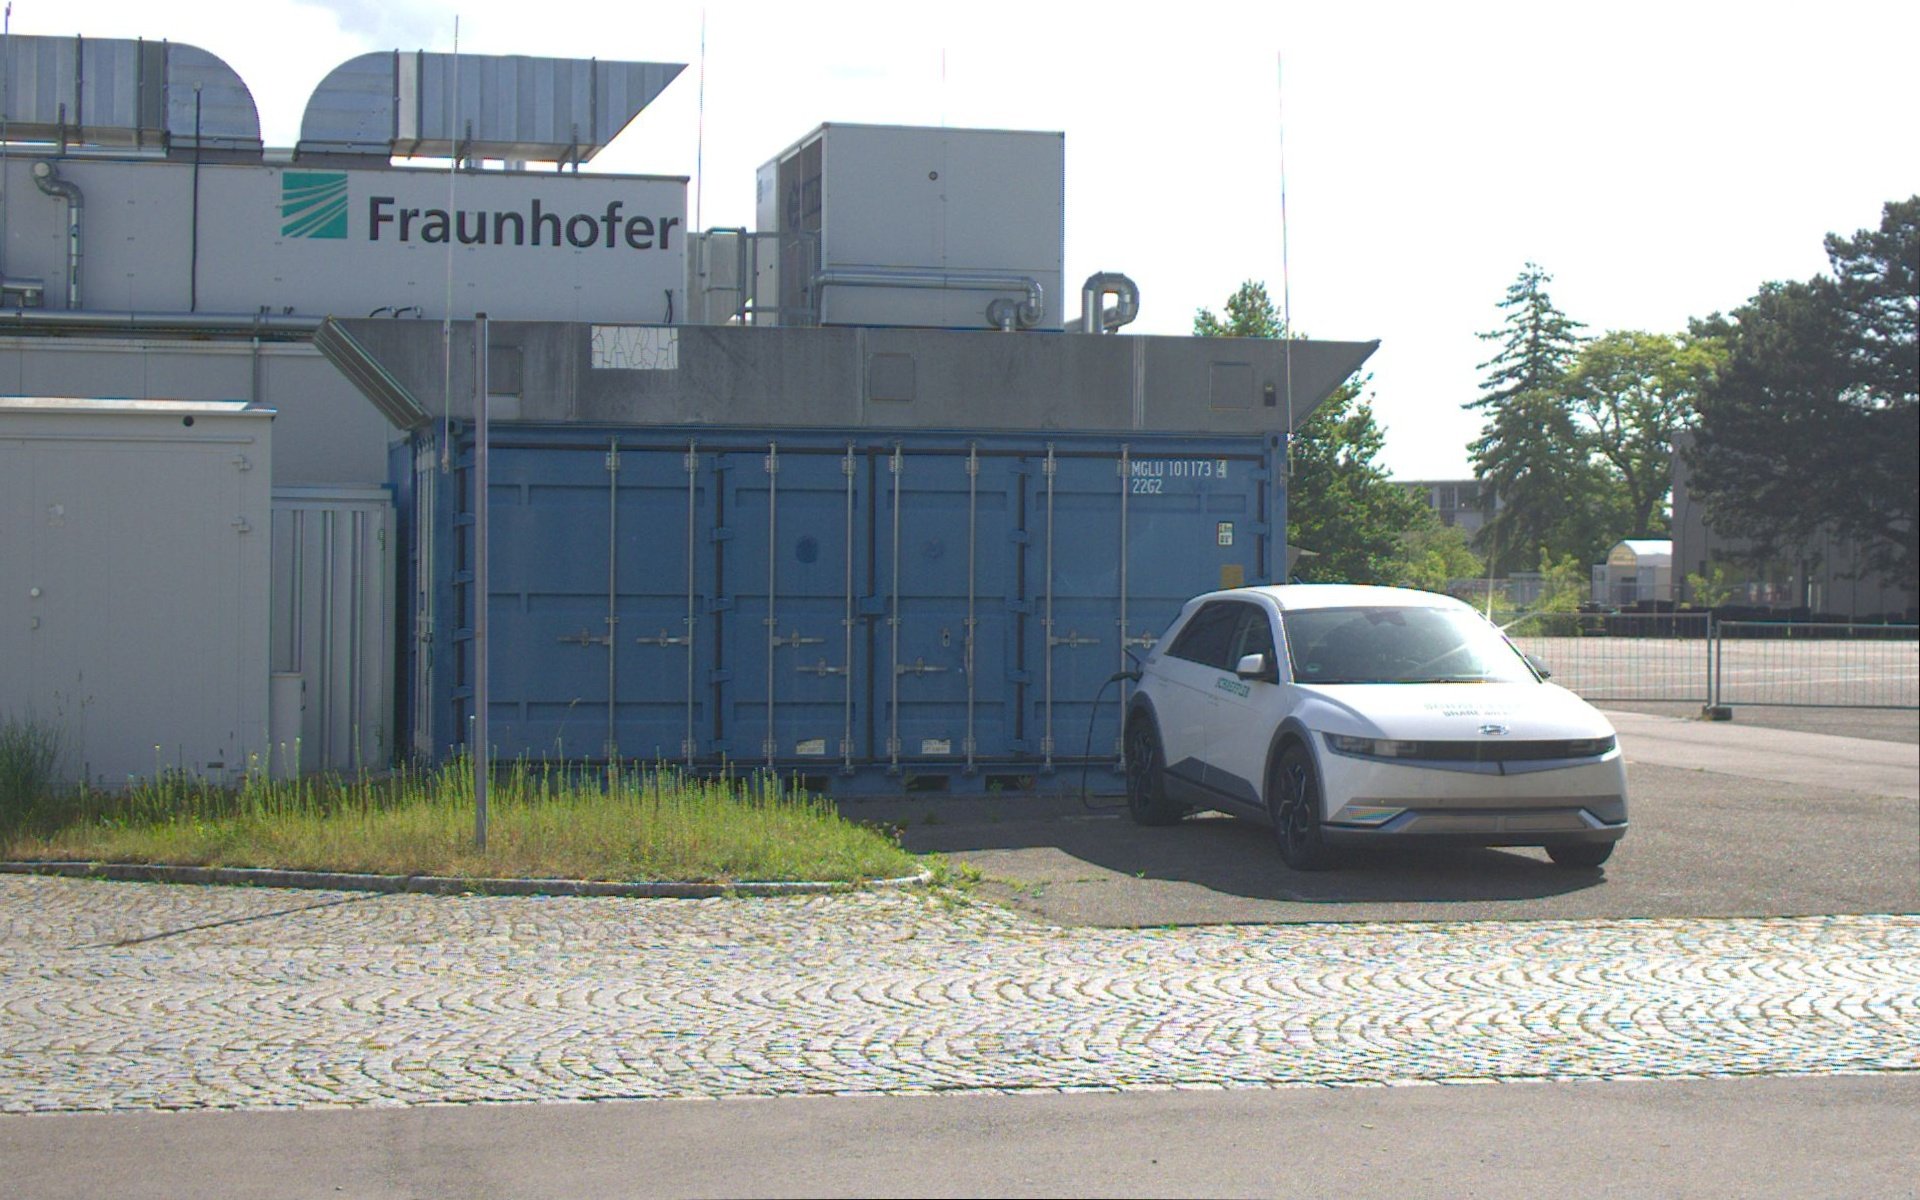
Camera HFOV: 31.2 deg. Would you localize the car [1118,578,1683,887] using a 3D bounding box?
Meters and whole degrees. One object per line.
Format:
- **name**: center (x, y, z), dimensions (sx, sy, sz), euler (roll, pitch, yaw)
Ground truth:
- **car**: center (2.541, 0.724, 21.051), dimensions (1.980, 1.588, 4.342), euler (1, 1, -14)
